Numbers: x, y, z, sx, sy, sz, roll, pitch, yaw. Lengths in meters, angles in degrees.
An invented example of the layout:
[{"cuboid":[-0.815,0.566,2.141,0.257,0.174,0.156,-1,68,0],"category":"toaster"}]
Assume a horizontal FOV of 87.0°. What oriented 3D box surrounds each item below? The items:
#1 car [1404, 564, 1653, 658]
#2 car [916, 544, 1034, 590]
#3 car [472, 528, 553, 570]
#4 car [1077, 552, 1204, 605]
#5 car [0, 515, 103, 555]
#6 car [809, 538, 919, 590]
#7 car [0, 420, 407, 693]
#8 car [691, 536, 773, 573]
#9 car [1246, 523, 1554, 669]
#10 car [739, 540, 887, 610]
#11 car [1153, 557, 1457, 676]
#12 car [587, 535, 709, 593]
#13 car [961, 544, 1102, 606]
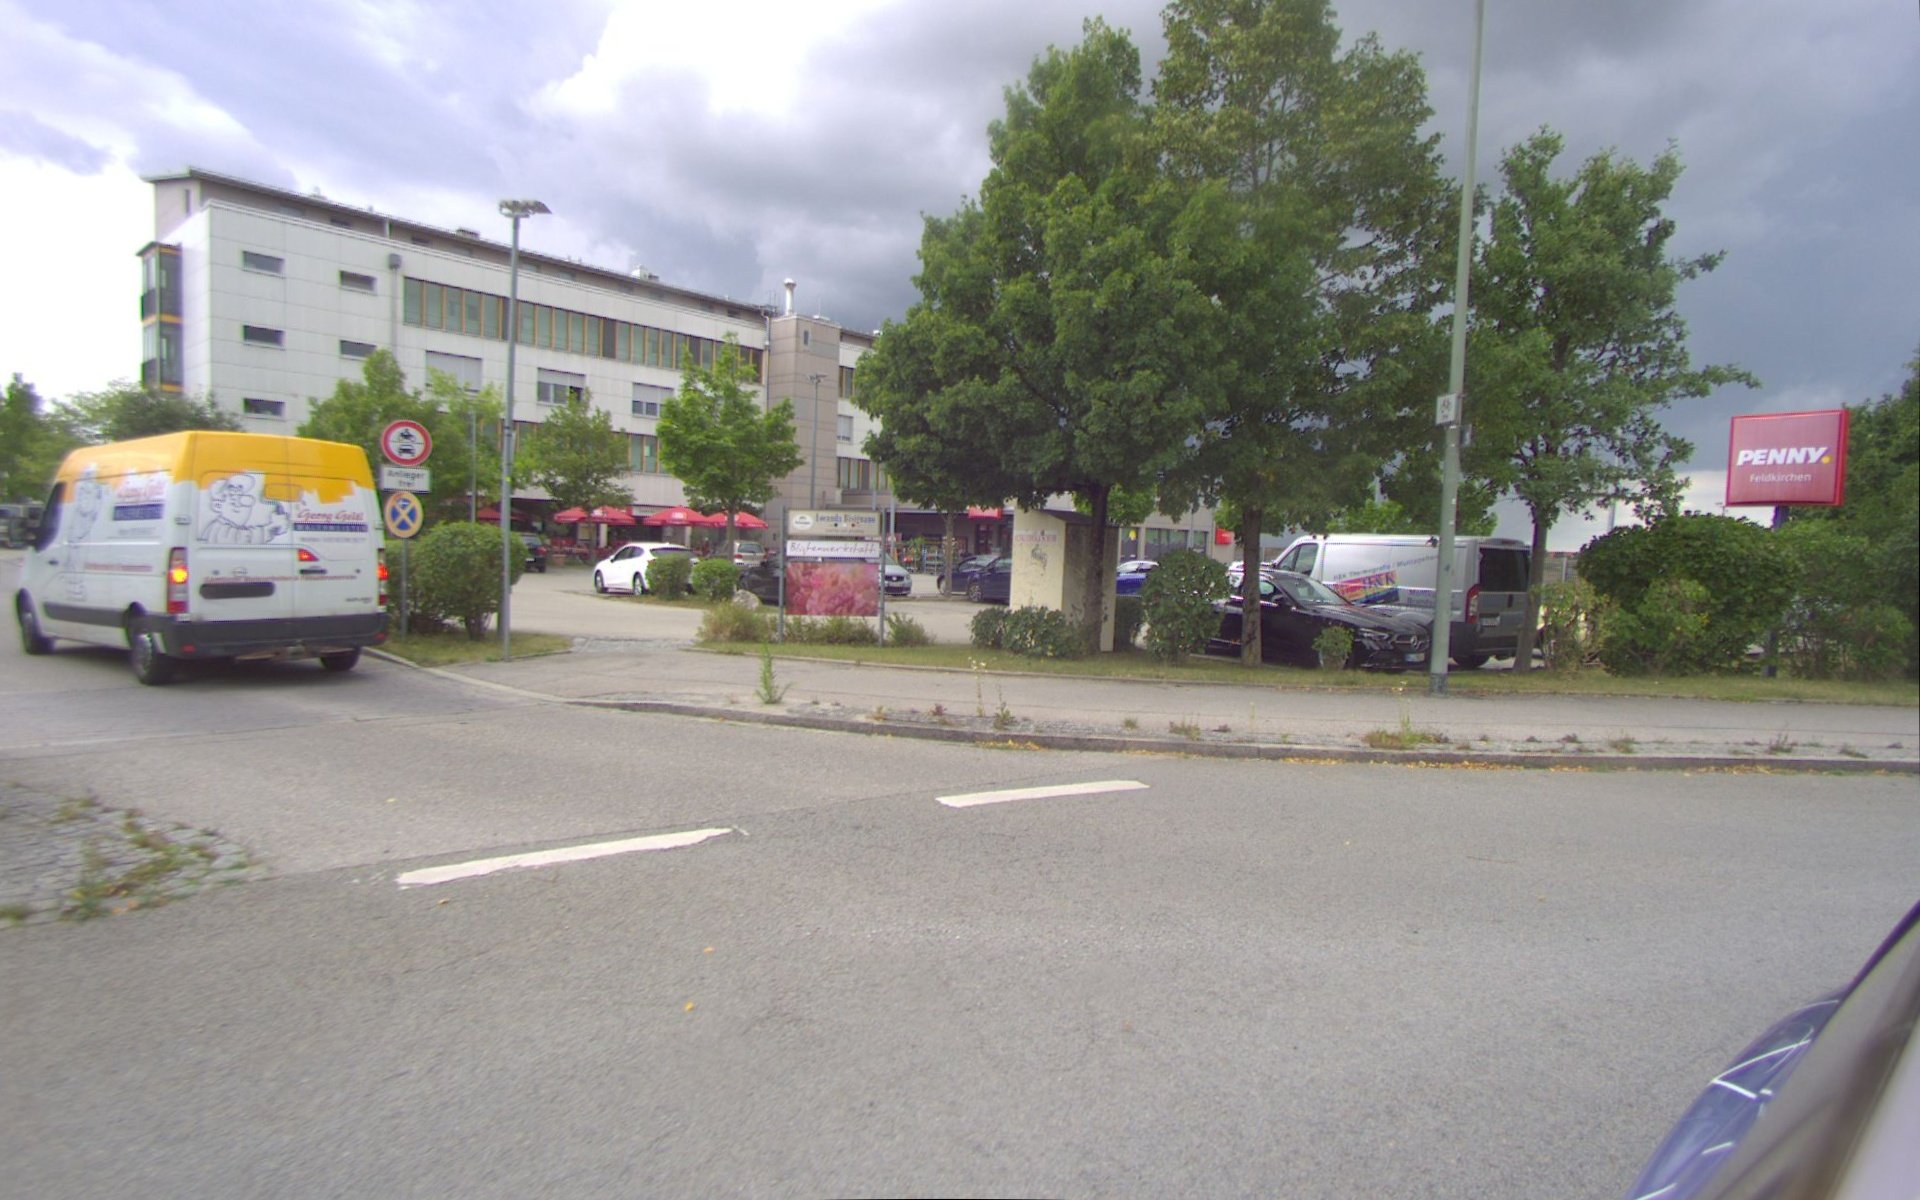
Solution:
[{"cuboid":[11.251,0.134,20.282,1.729,1.575,3.940,0,4,-36],"category":"car"},{"cuboid":[0.500,-1.165,36.108,4.069,1.558,1.754,1,1,41],"category":"car"},{"cuboid":[-17.106,-1.975,38.615,1.790,1.474,3.996,-1,4,-40],"category":"car"},{"cuboid":[5.583,-0.722,31.682,1.629,1.522,3.792,-1,3,-37],"category":"car"},{"cuboid":[-41.910,-2.977,46.283,1.628,1.753,3.991,1,3,10],"category":"car"},{"cuboid":[-3.080,-1.095,31.742,1.838,1.529,4.091,-1,1,-31],"category":"car"},{"cuboid":[-8.829,-0.557,11.624,5.406,2.481,2.143,3,3,34],"category":"car"},{"cuboid":[-9.832,-1.986,43.464,1.790,1.474,3.996,-1,4,-40],"category":"car"},{"cuboid":[7.518,-0.196,17.714,2.116,2.184,4.418,0,4,-36],"category":"car"},{"cuboid":[-3.586,-0.661,24.101,1.788,1.474,4.000,-1,4,-37],"category":"car"},{"cuboid":[5.350,0.141,16.274,1.729,1.511,4.418,0,4,-36],"category":"car"},{"cuboid":[-8.639,-1.006,27.839,1.790,1.475,3.995,-1,3,-40],"category":"car"},{"cuboid":[1.935,-0.757,28.502,1.788,1.561,4.000,-1,4,-37],"category":"car"}]
